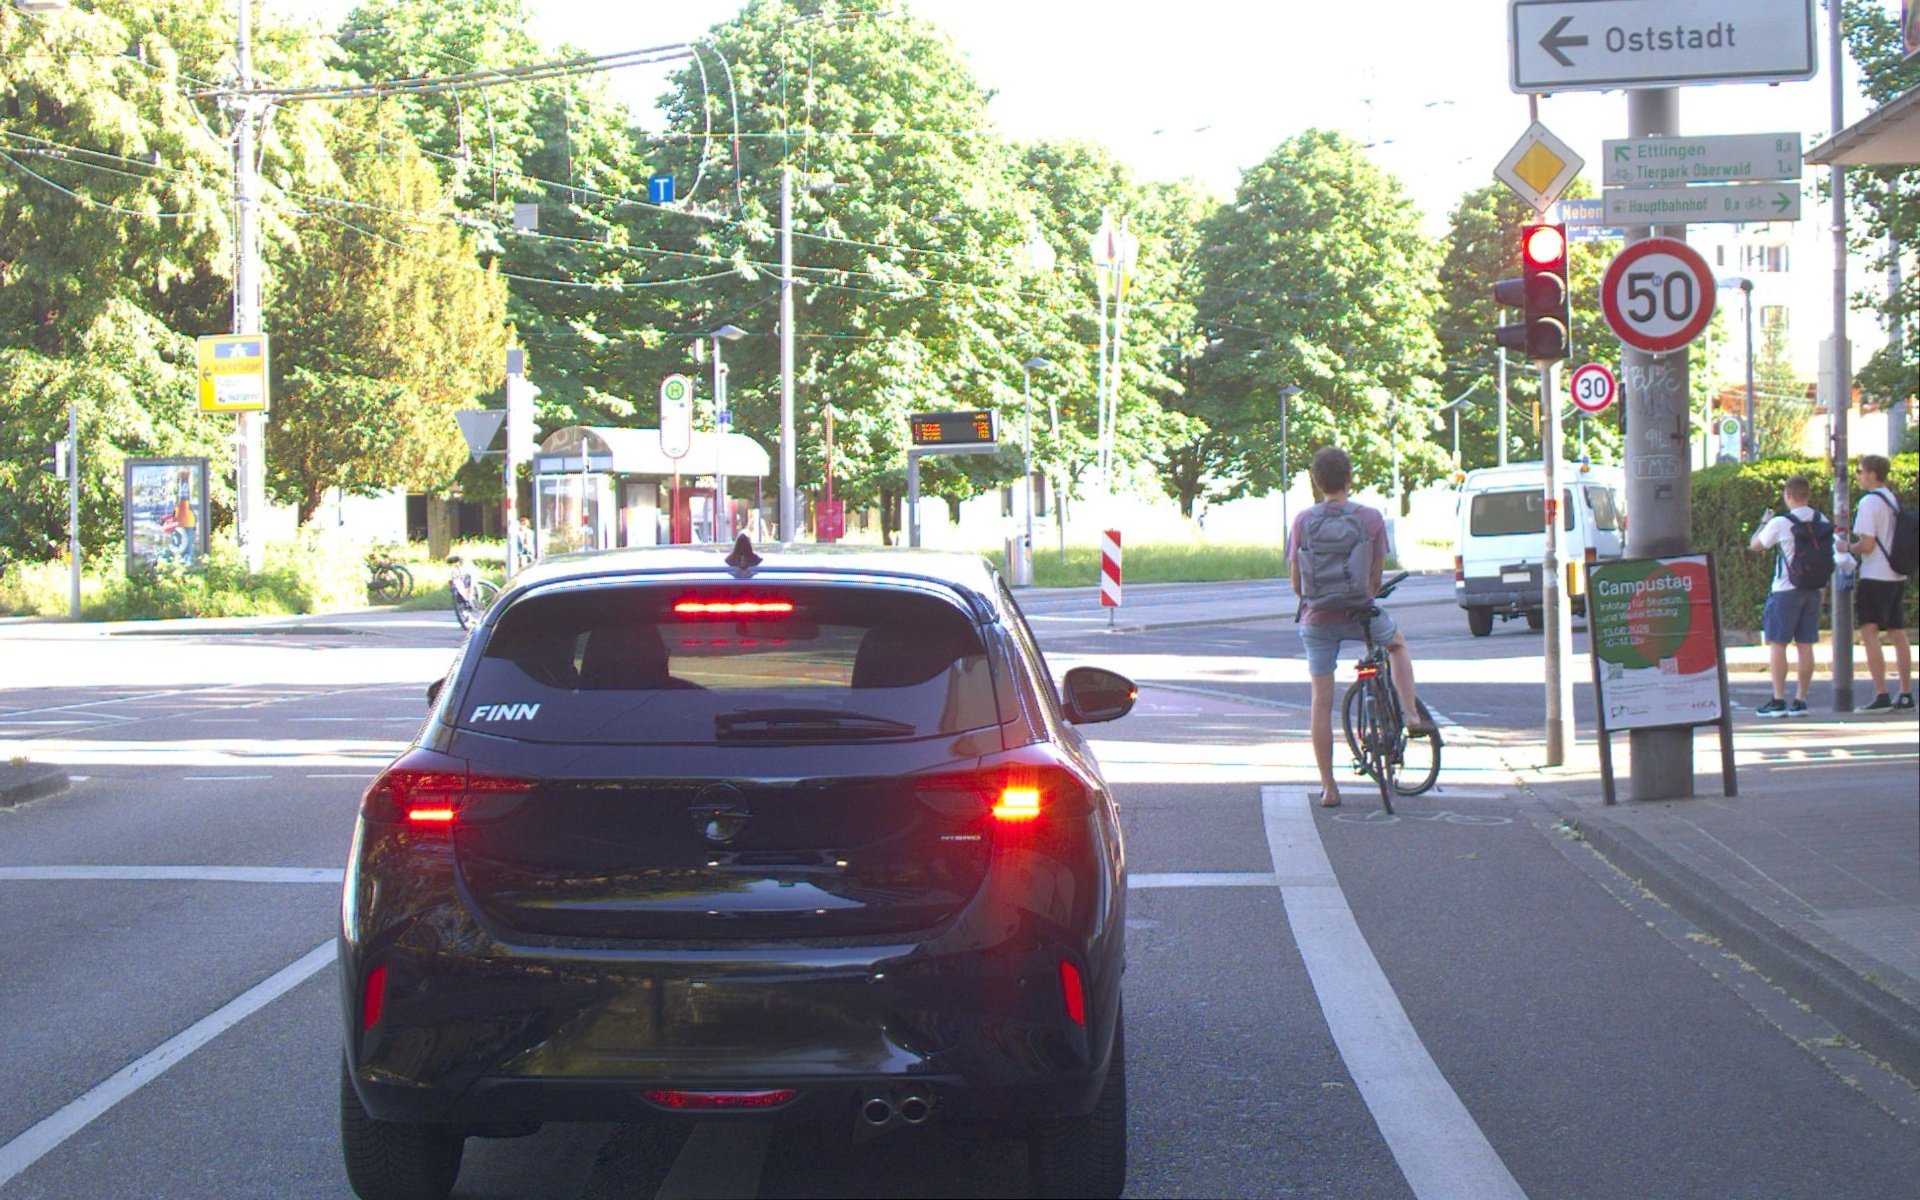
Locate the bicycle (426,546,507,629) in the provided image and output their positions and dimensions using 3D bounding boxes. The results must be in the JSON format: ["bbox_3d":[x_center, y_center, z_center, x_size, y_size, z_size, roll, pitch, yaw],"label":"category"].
[{"bbox_3d":[-6.637,-0.183,46.323,0.796,1.061,2.185,0,1,-1],"label":"bicycle"}]

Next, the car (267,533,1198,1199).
[{"bbox_3d":[-0.473,0.569,8.805,1.840,1.457,3.984,0,1,-1],"label":"car"}]

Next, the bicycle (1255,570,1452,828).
[{"bbox_3d":[2.075,0.475,17.912,0.753,1.231,2.014,0,1,14],"label":"bicycle"}]

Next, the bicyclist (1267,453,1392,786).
[{"bbox_3d":[1.910,0.092,17.734,0.534,1.686,0.567,0,1,17],"label":"bicyclist"}]

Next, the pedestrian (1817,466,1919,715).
[{"bbox_3d":[6.886,-0.074,25.547,0.633,1.814,0.745,1,0,-29],"label":"pedestrian"}]

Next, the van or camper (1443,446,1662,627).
[{"bbox_3d":[8.021,-0.833,46.247,2.031,2.302,4.535,1,1,21],"label":"van or camper"}]

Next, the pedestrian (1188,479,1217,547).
[{"bbox_3d":[6.714,-2.422,95.355,0.519,1.865,0.604,1,0,41],"label":"pedestrian"}]

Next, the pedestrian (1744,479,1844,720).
[{"bbox_3d":[6.175,-0.011,25.447,0.633,1.757,0.582,1,0,20],"label":"pedestrian"}]

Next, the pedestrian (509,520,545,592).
[{"bbox_3d":[-8.944,-0.916,71.047,0.570,1.467,0.665,0,1,8],"label":"pedestrian"}]

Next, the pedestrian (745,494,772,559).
[{"bbox_3d":[-5.824,-2.122,99.454,0.737,1.865,0.662,1,0,-6],"label":"pedestrian"}]
